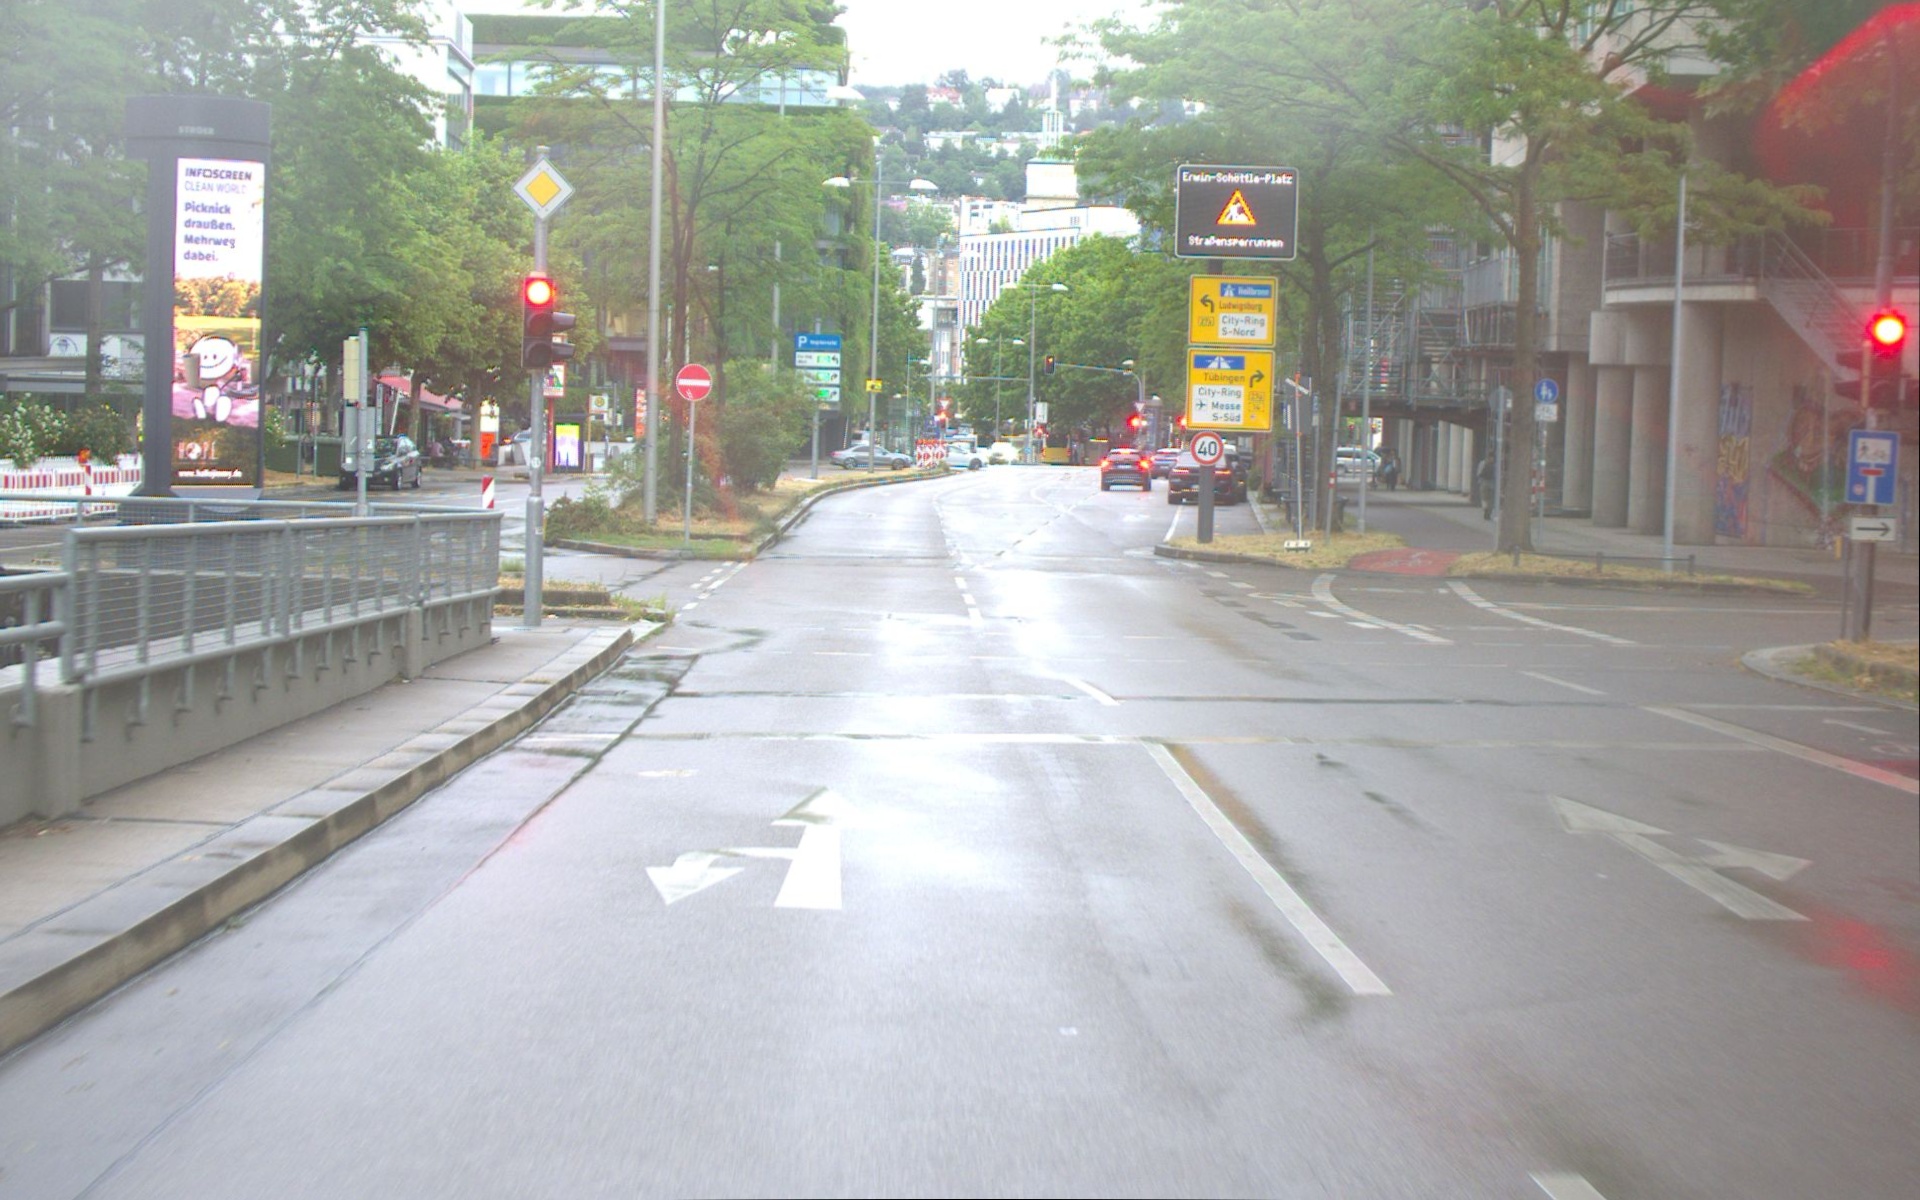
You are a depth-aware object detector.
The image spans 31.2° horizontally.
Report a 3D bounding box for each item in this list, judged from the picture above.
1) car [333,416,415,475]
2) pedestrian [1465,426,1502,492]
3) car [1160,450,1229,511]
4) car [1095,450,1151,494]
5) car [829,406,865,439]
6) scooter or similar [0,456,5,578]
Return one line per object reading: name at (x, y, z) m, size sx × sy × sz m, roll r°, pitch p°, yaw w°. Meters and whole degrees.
car at (-17.195, -4.560, 100.948) m, size 1.780 × 1.550 × 3.894 m, roll 2°, pitch 4°, yaw -2°
pedestrian at (12.658, -3.402, 83.095) m, size 0.786 × 1.552 × 0.532 m, roll 3°, pitch 2°, yaw 7°
car at (6.882, -3.529, 101.065) m, size 1.901 × 1.678 × 3.911 m, roll 3°, pitch 2°, yaw 3°
car at (5.951, -4.700, 126.125) m, size 1.746 × 1.513 × 4.107 m, roll 2°, pitch 2°, yaw -1°
car at (-7.965, -12.592, 243.725) m, size 2.128 × 2.157 × 5.197 m, roll 2°, pitch 2°, yaw 2°
scooter or similar at (-12.054, -0.987, 39.536) m, size 1.949 × 1.413 × 0.548 m, roll 2°, pitch 2°, yaw 1°
